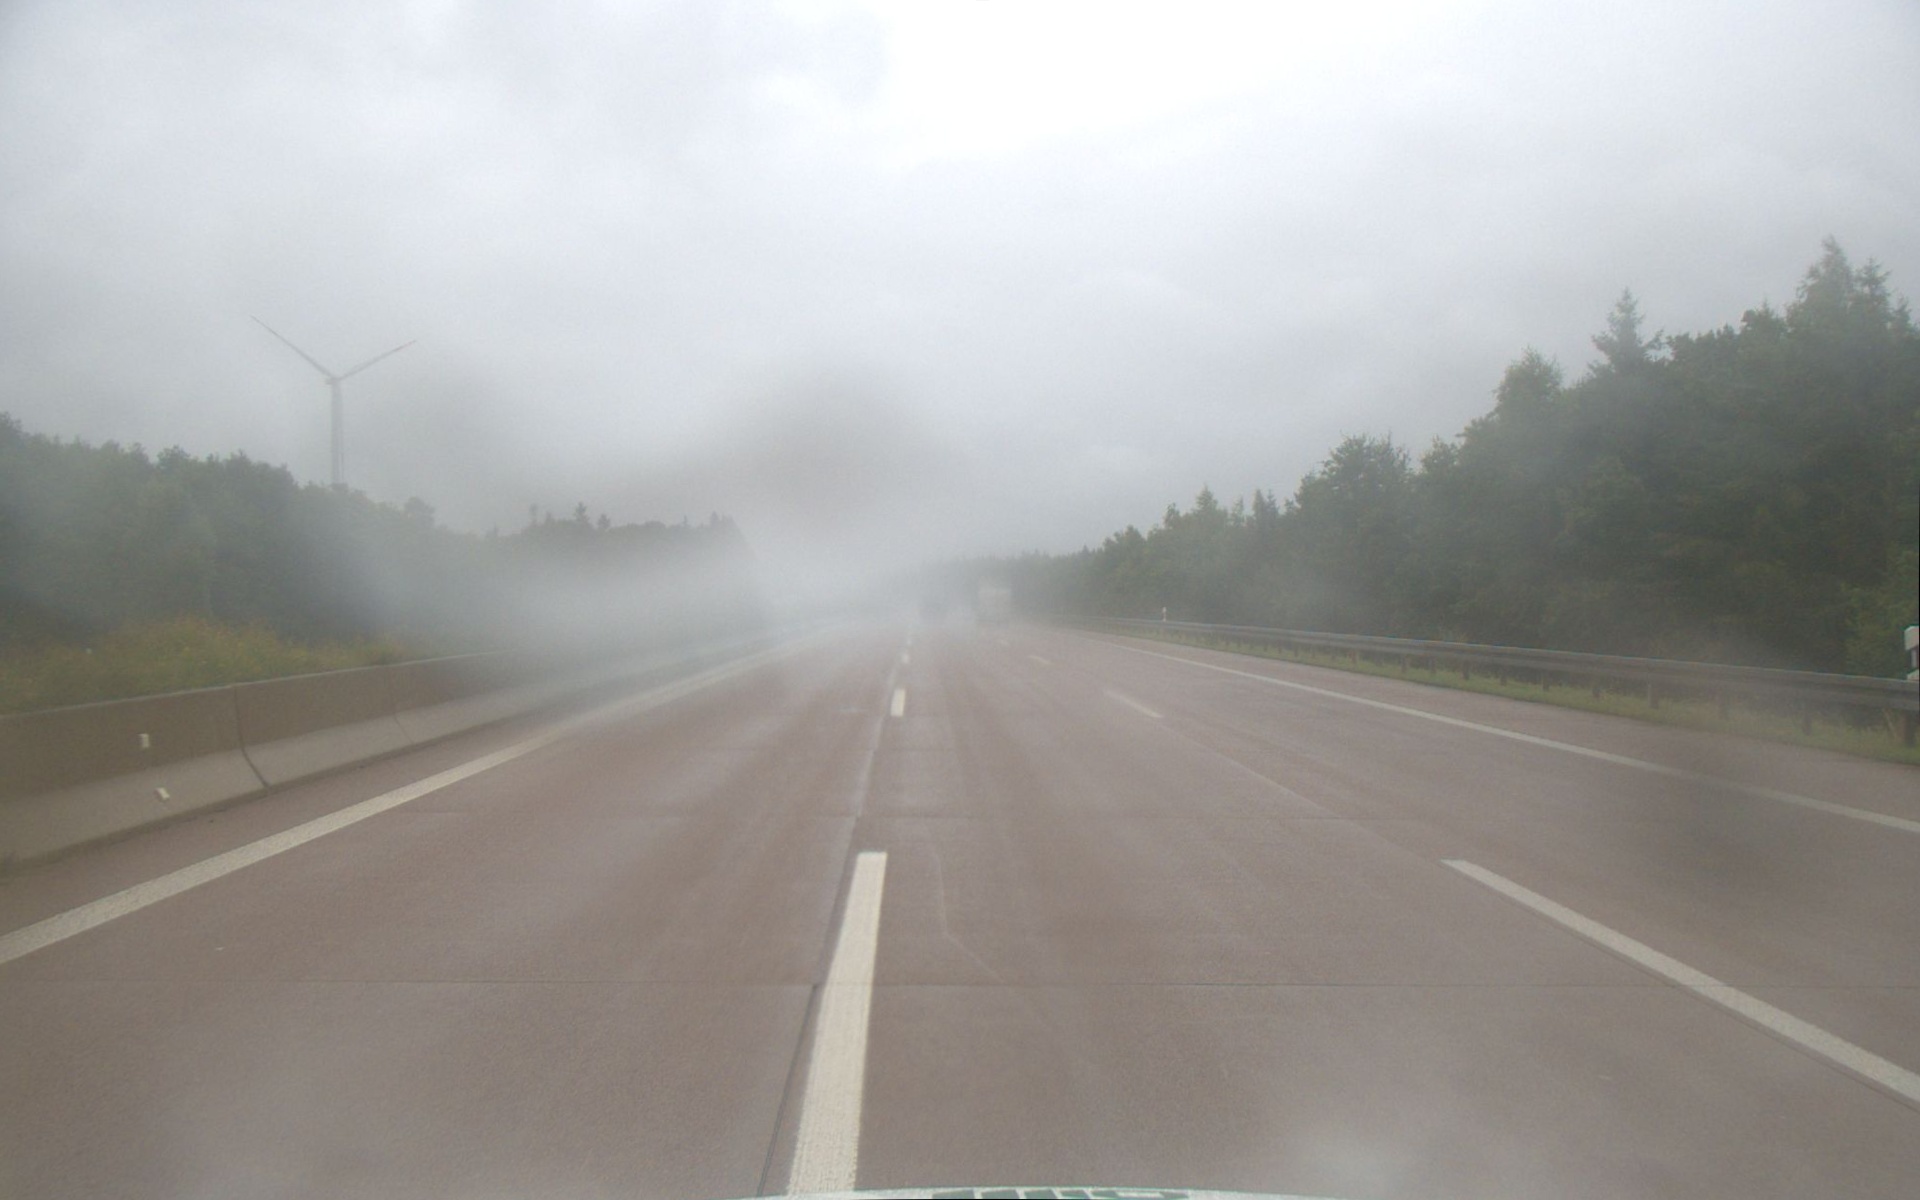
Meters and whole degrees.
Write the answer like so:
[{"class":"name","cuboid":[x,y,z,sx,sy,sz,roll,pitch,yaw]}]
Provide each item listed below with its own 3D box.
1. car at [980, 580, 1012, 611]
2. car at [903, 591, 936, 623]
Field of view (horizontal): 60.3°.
[{"class":"car","cuboid":[2.501,-0.319,116.155,2.016,2.034,4.098,3,0,-1]},{"class":"car","cuboid":[-2.751,0.439,113.420,2.129,2.015,4.129,3,0,-1]}]
